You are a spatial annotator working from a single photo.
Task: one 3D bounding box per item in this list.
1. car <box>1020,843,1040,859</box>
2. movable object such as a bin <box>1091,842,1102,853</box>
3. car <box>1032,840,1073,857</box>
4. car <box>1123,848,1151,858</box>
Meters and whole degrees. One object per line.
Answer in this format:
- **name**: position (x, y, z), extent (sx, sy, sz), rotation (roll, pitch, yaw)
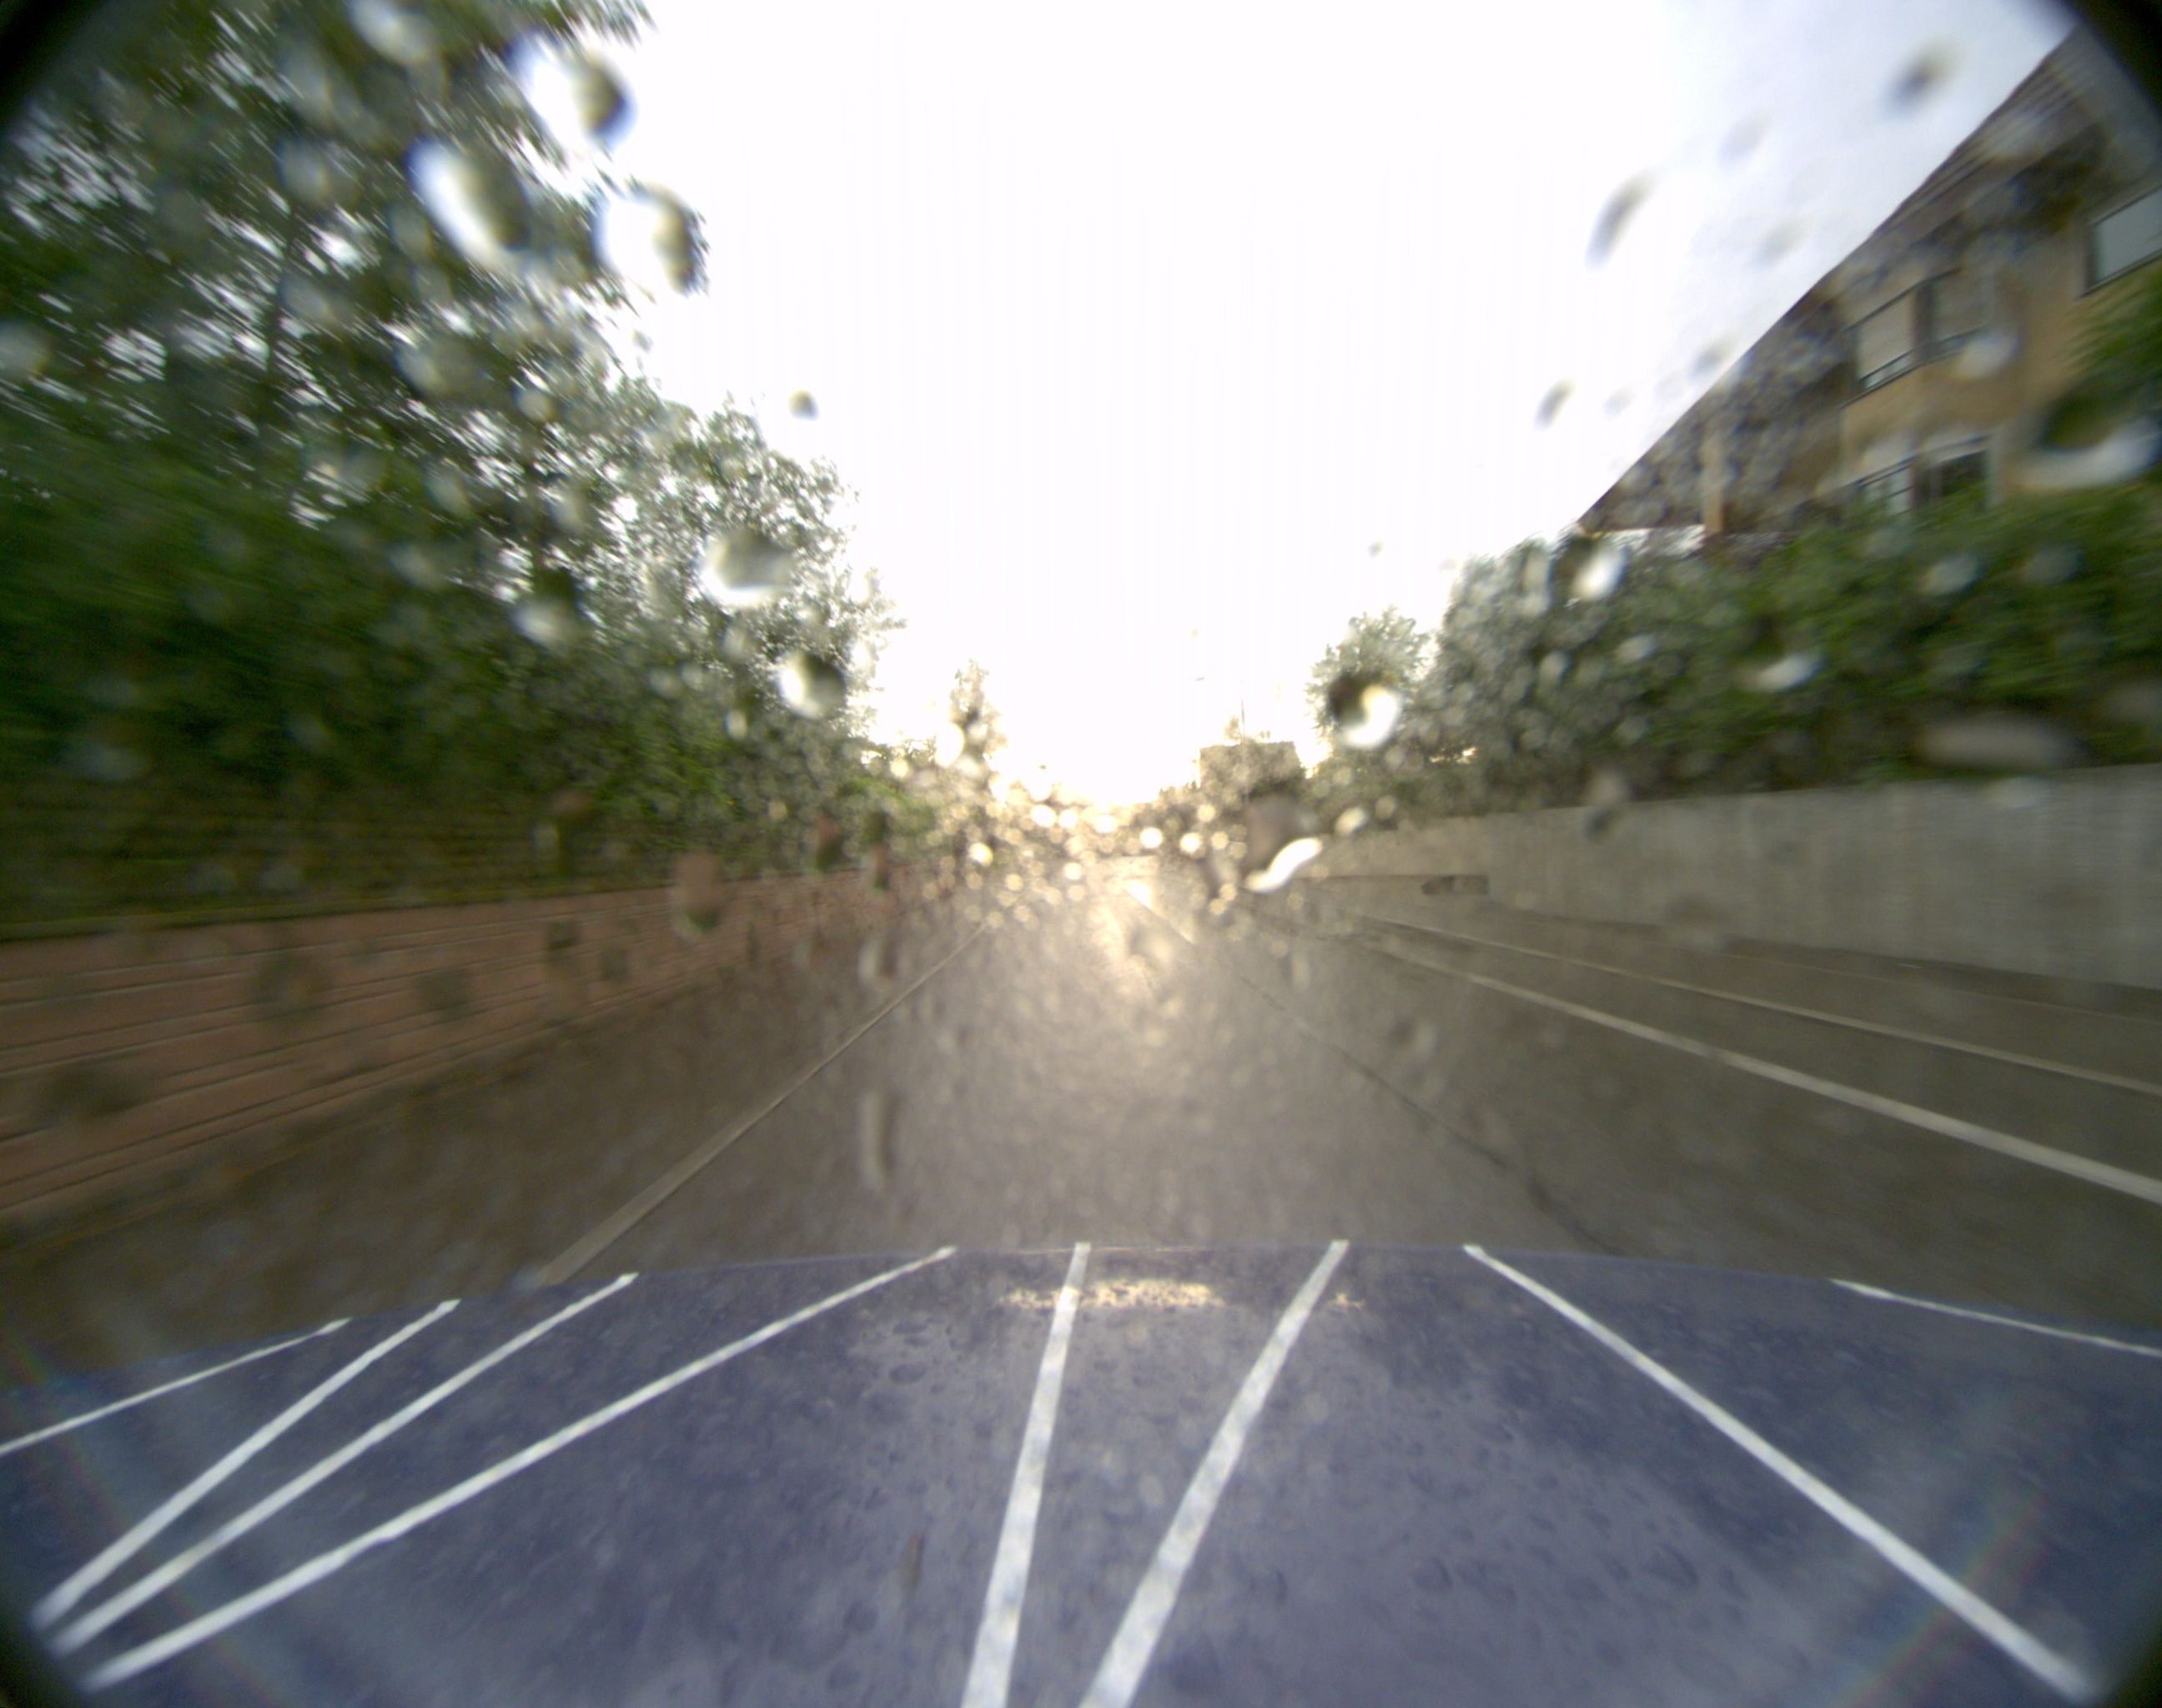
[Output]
- **car**: position (-4.840, -0.309, 72.084), extent (1.535, 1.526, 3.845), rotation (0, 1, 1)
- **movable object such as a bin**: position (2.179, -0.858, 105.182), extent (1.245, 1.488, 0.982), rotation (-1, 0, -17)
- **car**: position (-3.364, -0.641, 89.566), extent (4.335, 1.706, 1.731), rotation (-5, 1, 28)
- **car**: position (9.706, -0.159, 131.581), extent (4.533, 1.650, 1.858), rotation (-1, -1, 11)
